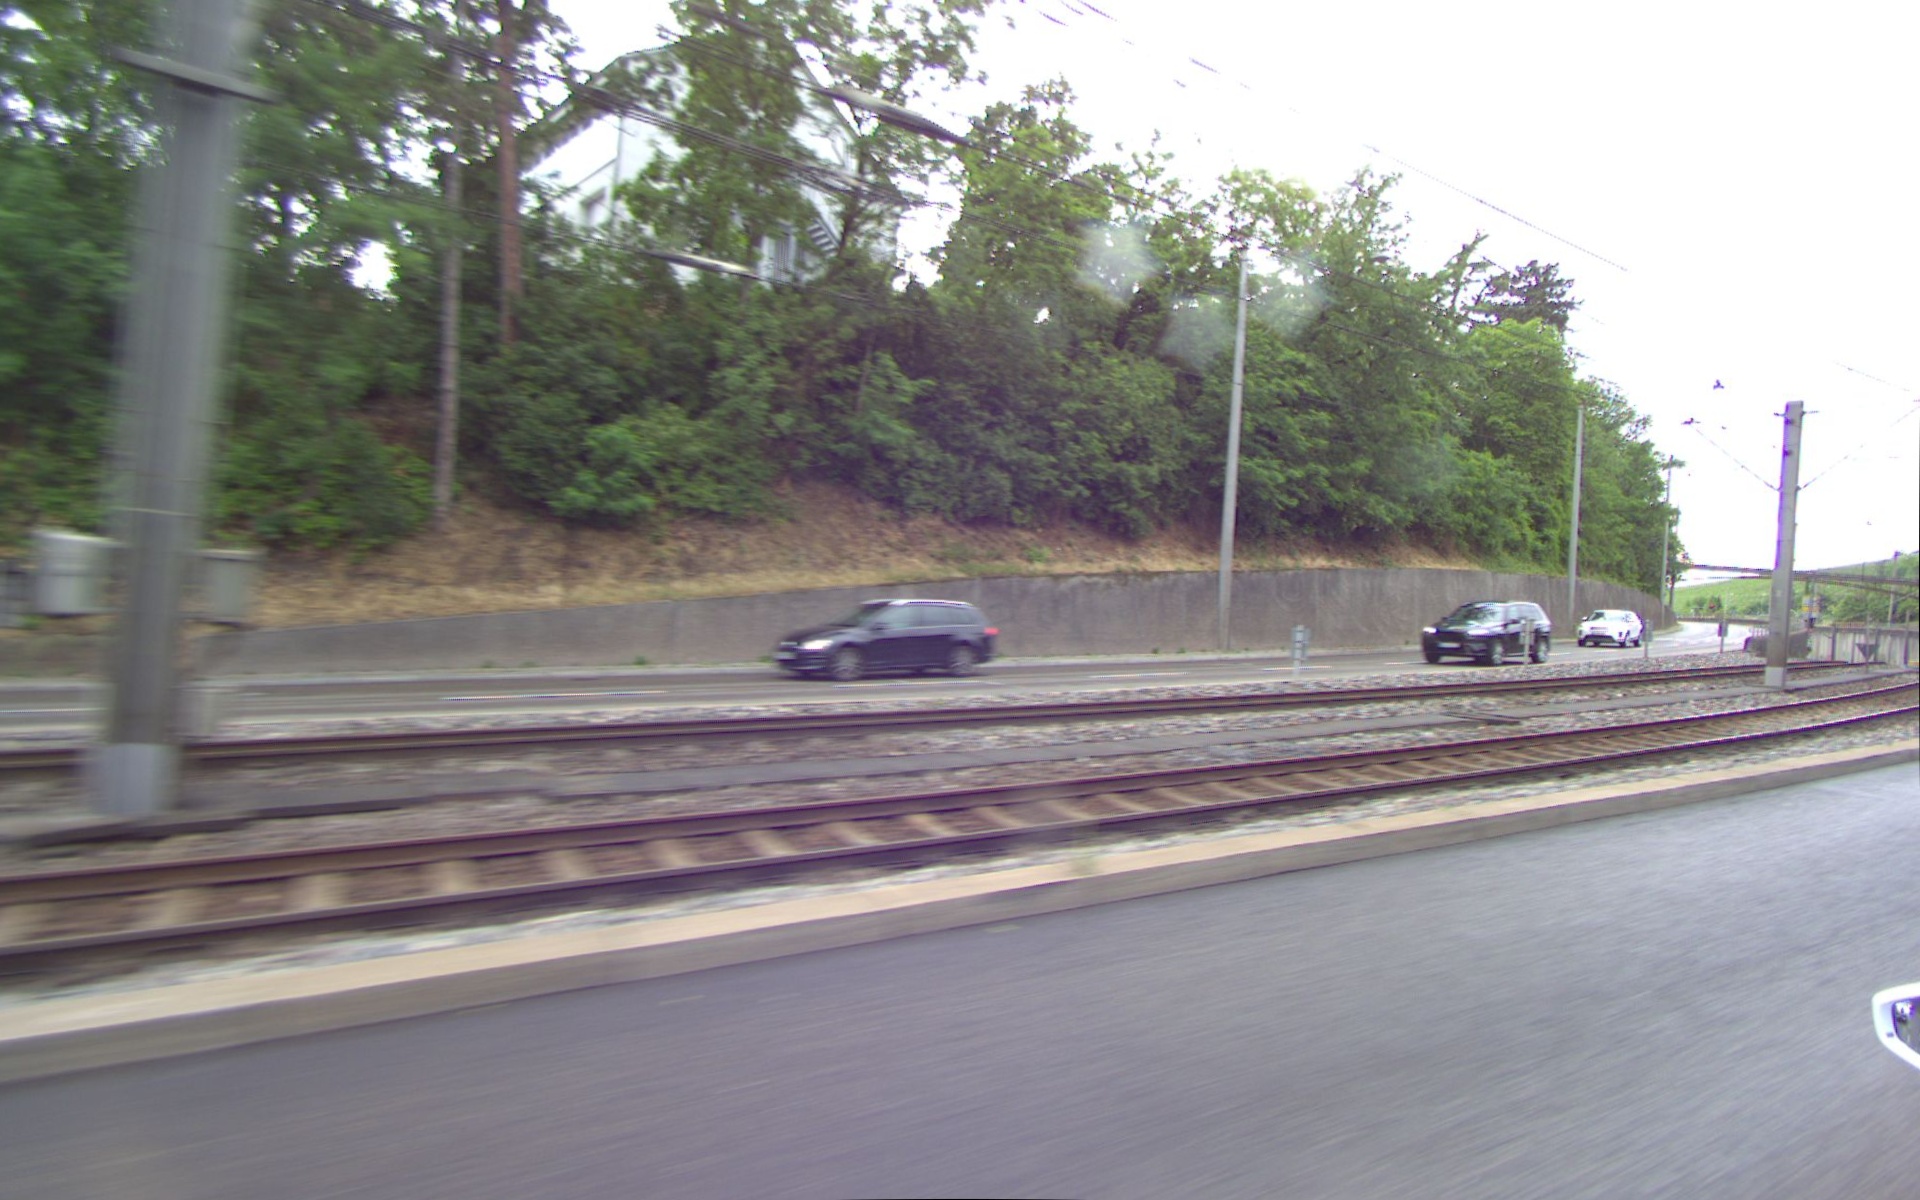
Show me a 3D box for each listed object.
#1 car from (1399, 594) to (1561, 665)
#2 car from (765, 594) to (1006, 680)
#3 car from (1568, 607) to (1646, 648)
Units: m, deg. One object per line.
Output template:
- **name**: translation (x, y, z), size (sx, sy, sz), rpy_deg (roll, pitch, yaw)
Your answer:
- **car**: translation (15.108, 0.831, 29.070), size (5.091, 1.855, 2.217), rpy_deg (1, 0, -38)
- **car**: translation (-1.374, 0.689, 19.438), size (4.371, 1.490, 1.812), rpy_deg (2, -1, -36)
- **car**: translation (29.523, 1.249, 45.779), size (4.376, 1.706, 1.916), rpy_deg (2, 0, -43)
